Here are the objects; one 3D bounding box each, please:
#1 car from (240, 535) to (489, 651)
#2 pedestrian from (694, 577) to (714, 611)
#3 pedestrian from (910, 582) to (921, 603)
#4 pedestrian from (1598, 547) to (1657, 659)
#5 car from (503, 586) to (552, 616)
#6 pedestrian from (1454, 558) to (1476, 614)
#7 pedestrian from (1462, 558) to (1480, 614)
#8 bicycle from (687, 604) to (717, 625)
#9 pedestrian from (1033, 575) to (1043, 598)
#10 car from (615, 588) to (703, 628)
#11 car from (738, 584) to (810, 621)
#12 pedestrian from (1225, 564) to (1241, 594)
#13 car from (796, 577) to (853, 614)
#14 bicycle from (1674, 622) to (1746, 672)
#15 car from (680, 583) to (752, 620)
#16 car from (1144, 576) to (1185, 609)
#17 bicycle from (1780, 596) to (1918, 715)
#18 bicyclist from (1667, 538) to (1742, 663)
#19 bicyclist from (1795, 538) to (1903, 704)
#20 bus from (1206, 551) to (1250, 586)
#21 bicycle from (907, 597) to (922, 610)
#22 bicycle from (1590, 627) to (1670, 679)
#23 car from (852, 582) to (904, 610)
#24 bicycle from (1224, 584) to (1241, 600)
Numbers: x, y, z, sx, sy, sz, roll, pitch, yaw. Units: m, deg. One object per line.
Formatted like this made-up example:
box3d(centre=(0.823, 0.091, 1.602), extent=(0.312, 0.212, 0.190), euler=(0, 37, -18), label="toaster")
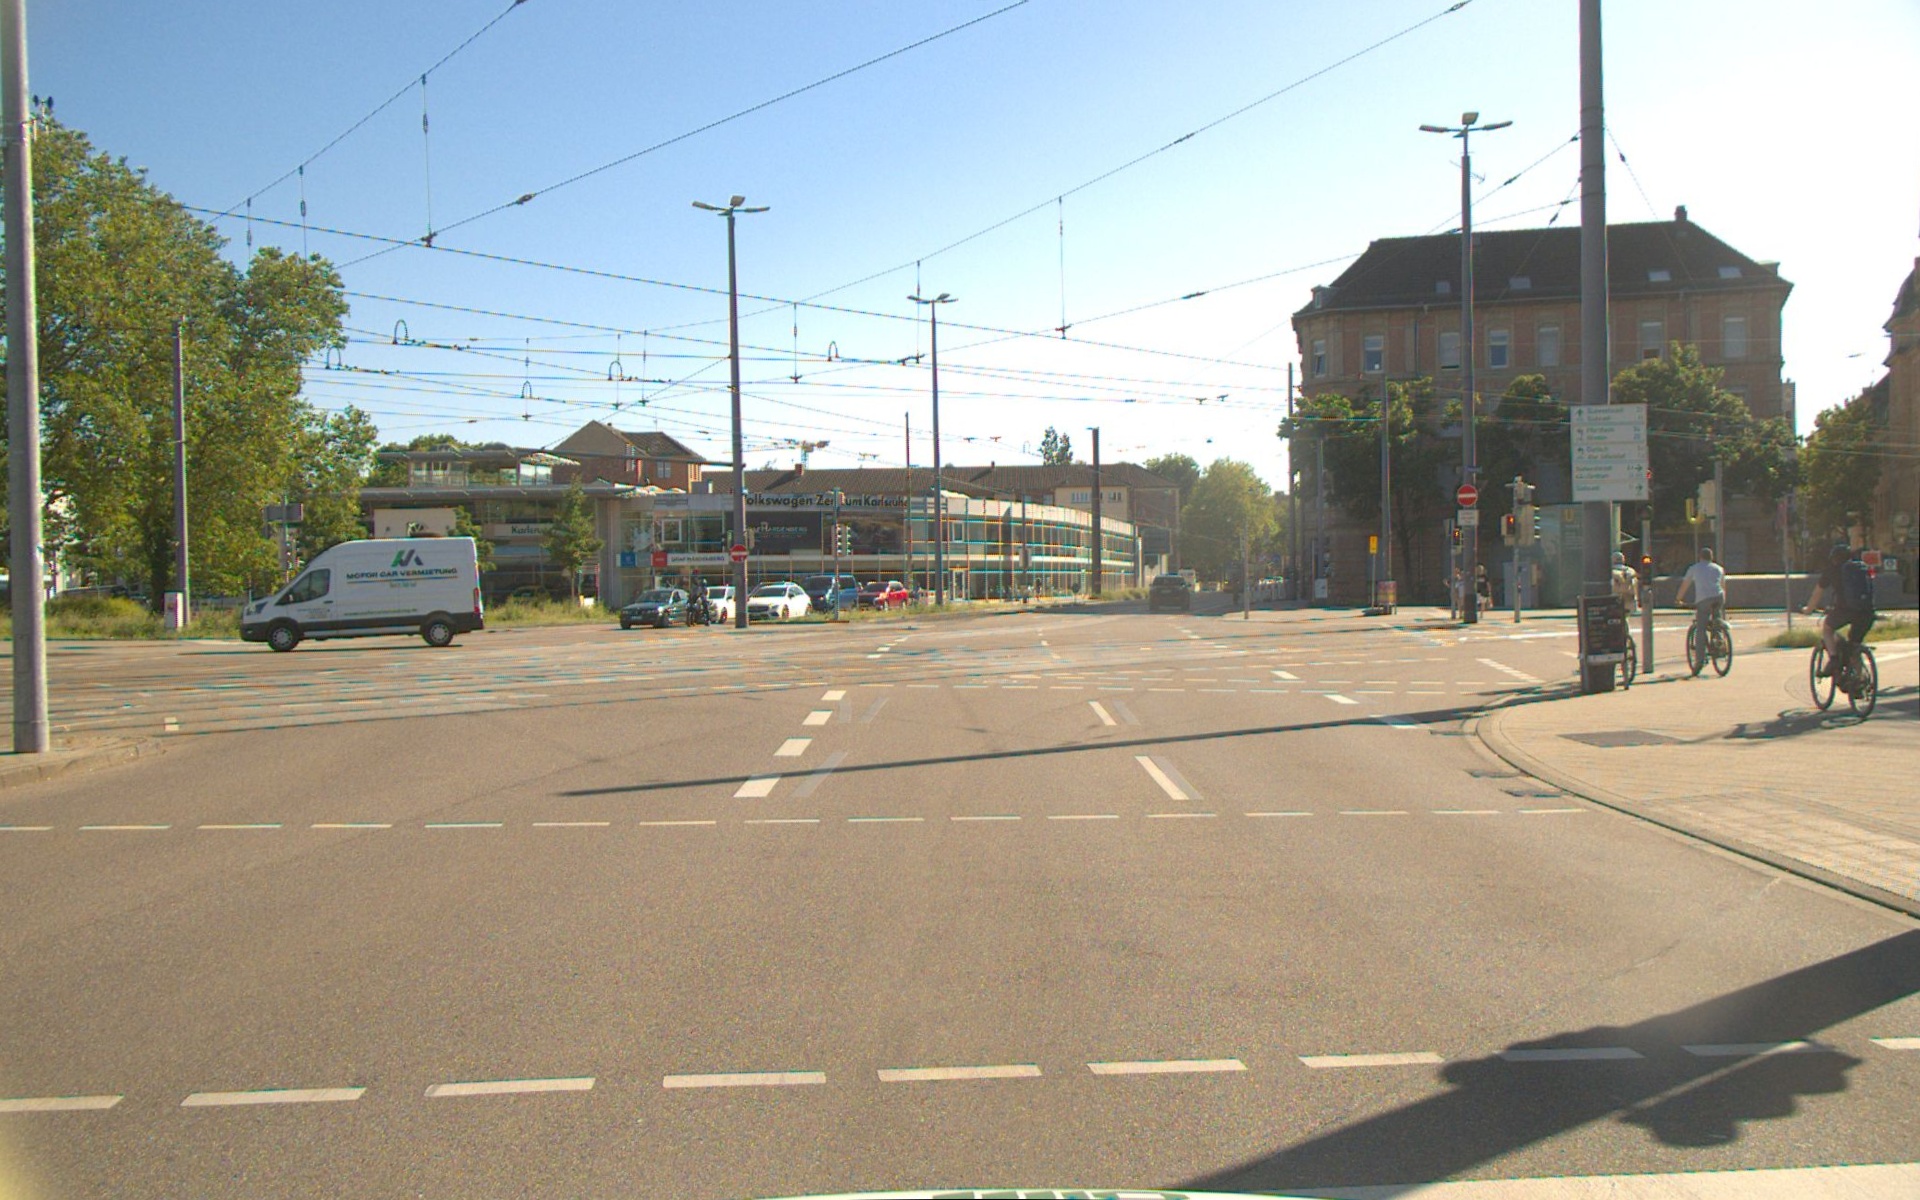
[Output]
box3d(centre=(-15.170, -0.205, 42.381), extent=(5.818, 2.792, 2.132), euler=(-1, 0, -20), label="car")
box3d(centre=(-9.353, -0.210, 60.374), extent=(0.413, 1.225, 0.750), euler=(-1, 0, 16), label="pedestrian")
box3d(centre=(-2.633, -0.455, 97.195), extent=(0.414, 1.225, 0.681), euler=(-1, 0, 19), label="pedestrian")
box3d(centre=(9.695, 0.042, 24.033), extent=(0.537, 1.590, 0.858), euler=(-1, 0, 3), label="pedestrian")
box3d(centre=(-25.979, 0.048, 99.470), extent=(1.926, 1.735, 4.083), euler=(-1, 1, -1), label="car")
box3d(centre=(18.406, -0.512, 60.289), extent=(0.564, 2.049, 0.449), euler=(-1, 1, -19), label="pedestrian")
box3d(centre=(18.840, -0.506, 60.992), extent=(0.453, 2.049, 0.449), euler=(-1, 1, -18), label="pedestrian")
box3d(centre=(-9.391, 0.529, 60.193), extent=(0.413, 0.730, 1.636), euler=(-1, 1, 16), label="bicycle")
box3d(centre=(5.777, -0.989, 122.333), extent=(0.531, 1.718, 0.630), euler=(-1, 0, 19), label="pedestrian")
box3d(centre=(-11.013, 0.287, 60.696), extent=(1.667, 1.378, 3.703), euler=(-1, 1, 16), label="car")
box3d(centre=(-7.238, 0.078, 64.827), extent=(1.591, 1.406, 3.741), euler=(-1, 1, 14), label="car")
box3d(centre=(15.382, -1.172, 93.281), extent=(0.786, 1.660, 0.718), euler=(-1, 0, 17), label="pedestrian")
box3d(centre=(-6.427, -0.235, 78.856), extent=(1.591, 1.722, 3.689), euler=(-1, 1, 14), label="car")
box3d(centre=(11.166, 0.684, 24.666), extent=(0.525, 0.667, 1.469), euler=(-2, 1, 6), label="bicycle")
box3d(centre=(-9.791, 0.042, 66.670), extent=(1.591, 1.448, 3.689), euler=(-1, 1, 14), label="car")
box3d(centre=(10.003, -0.393, 80.710), extent=(1.662, 1.529, 4.269), euler=(-1, 1, 11), label="car")
box3d(centre=(9.313, 0.551, 17.396), extent=(0.612, 1.133, 1.852), euler=(-3, 0, 7), label="bicycle")
box3d(centre=(11.146, 0.004, 24.787), extent=(0.731, 1.809, 0.925), euler=(-2, 0, 6), label="bicyclist")
box3d(centre=(9.286, 0.206, 17.311), extent=(0.612, 1.666, 0.996), euler=(-3, 0, 7), label="bicyclist")
box3d(centre=(32.100, -3.636, 197.052), extent=(3.755, 3.670, 24.887), euler=(1, 0, 12), label="bus")
box3d(centre=(-2.675, 0.215, 97.040), extent=(0.414, 0.730, 1.476), euler=(-1, 1, 19), label="bicycle")
box3d(centre=(9.743, 0.758, 24.108), extent=(0.526, 0.667, 1.726), euler=(-4, 0, 3), label="bicycle")
box3d(centre=(-4.249, -0.199, 86.016), extent=(1.591, 1.388, 3.688), euler=(-1, 1, 16), label="car")
box3d(centre=(15.318, -0.453, 92.929), extent=(0.727, 0.885, 1.932), euler=(-1, 0, 17), label="bicycle")
